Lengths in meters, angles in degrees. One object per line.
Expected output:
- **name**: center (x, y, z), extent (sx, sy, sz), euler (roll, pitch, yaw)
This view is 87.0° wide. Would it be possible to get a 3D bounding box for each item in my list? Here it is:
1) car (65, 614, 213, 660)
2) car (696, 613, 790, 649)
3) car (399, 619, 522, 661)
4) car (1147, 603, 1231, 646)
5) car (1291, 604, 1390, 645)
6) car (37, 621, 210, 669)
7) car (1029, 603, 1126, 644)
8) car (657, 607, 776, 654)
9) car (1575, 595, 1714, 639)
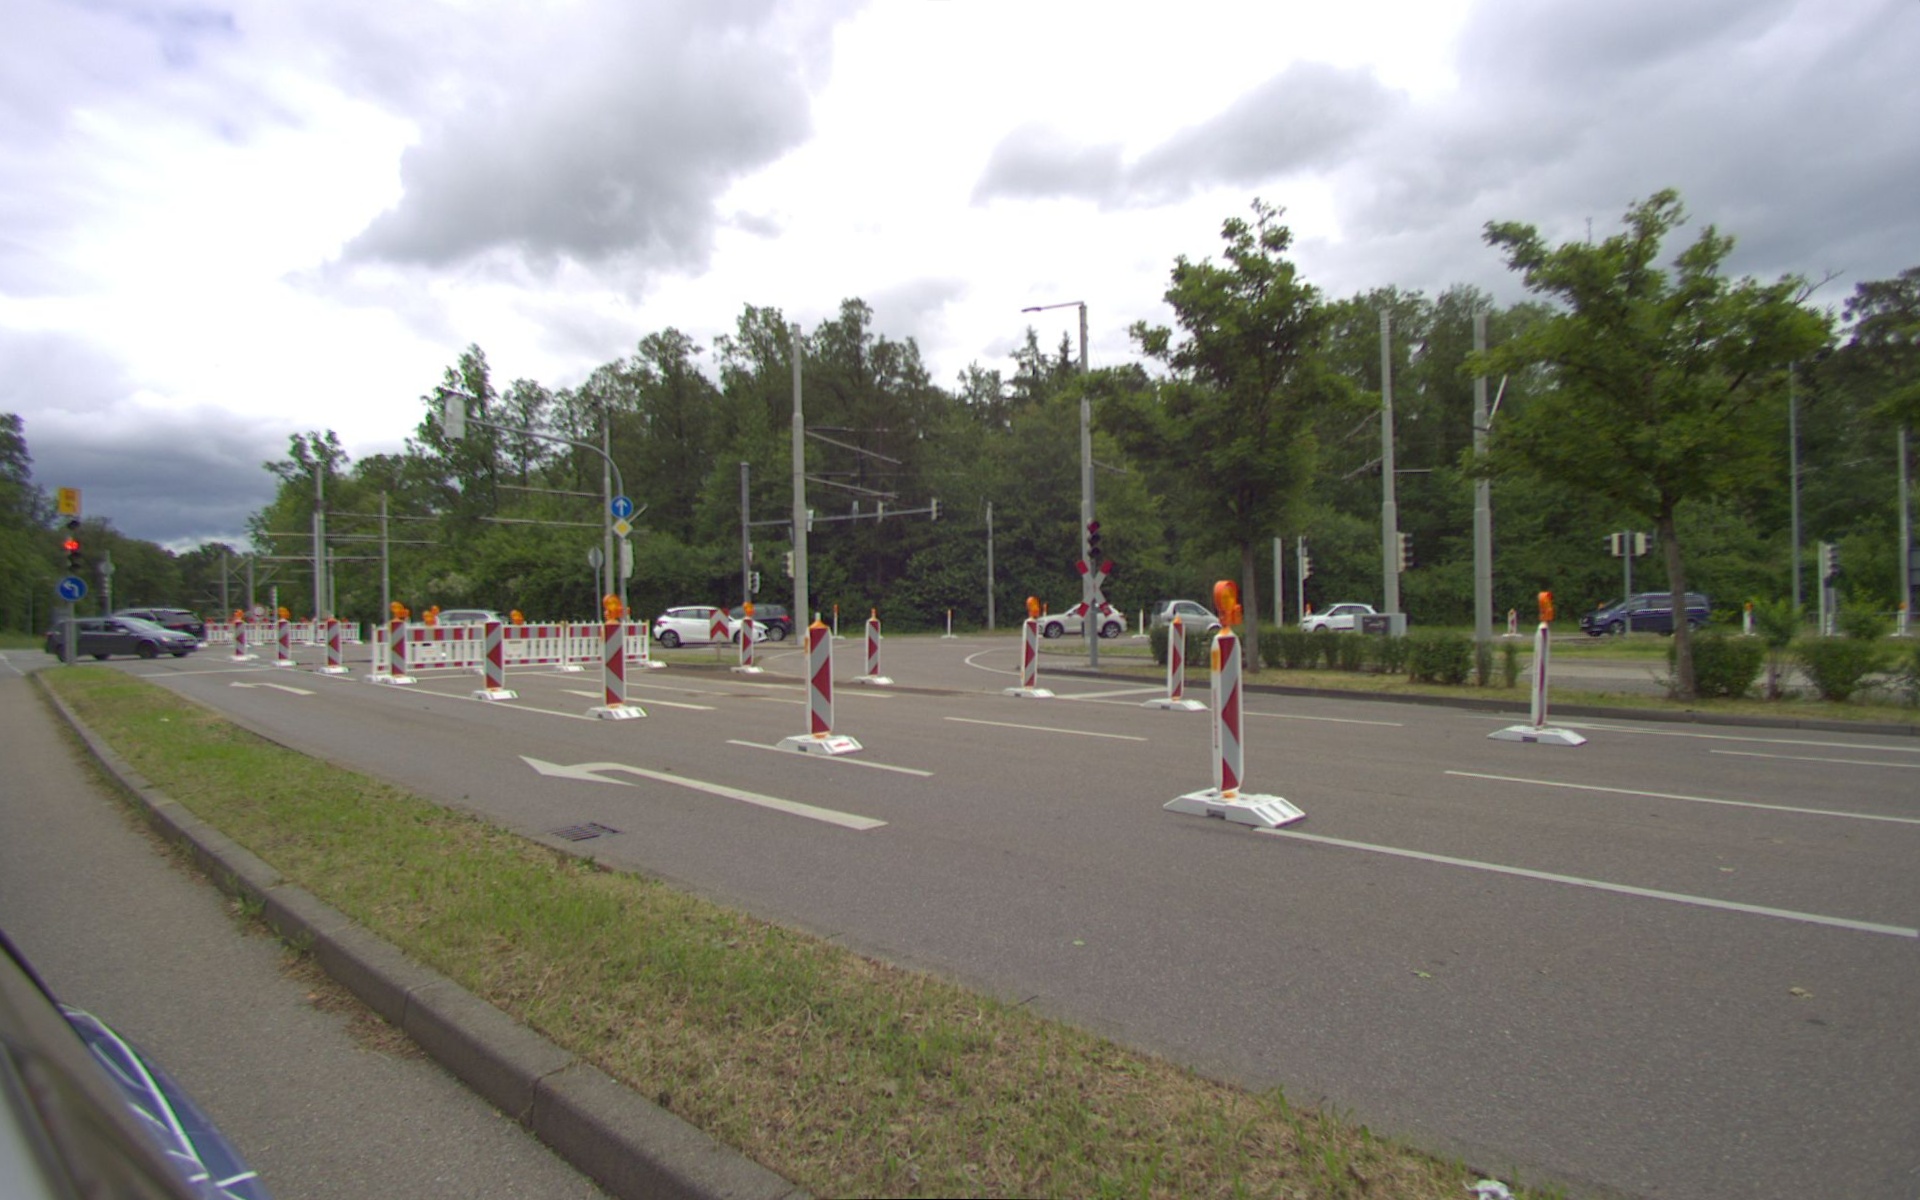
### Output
- **car**: center (-34.308, 1.511, 42.417), extent (4.402, 1.741, 2.003), euler (-1, 0, -7)
- **car**: center (-9.390, 1.340, 44.009), extent (3.785, 1.347, 1.665), euler (-1, 3, -2)
- **car**: center (-21.335, 1.683, 43.377), extent (4.379, 1.607, 1.885), euler (-1, 0, -10)
- **car**: center (8.465, 0.898, 37.541), extent (2.703, 1.486, 1.501), euler (-1, 0, -4)
- **car**: center (17.257, 1.103, 46.019), extent (3.736, 1.735, 1.860), euler (-1, 0, -2)
- **car**: center (-28.644, 1.507, 34.763), extent (4.324, 1.447, 1.799), euler (-1, 0, -4)
- **car**: center (5.214, 1.031, 45.169), extent (3.987, 1.664, 1.861), euler (-1, 0, -4)
- **car**: center (-8.650, 1.058, 36.167), extent (3.938, 1.499, 1.772), euler (-1, 0, -6)
- **car**: center (30.748, 0.747, 45.576), extent (4.772, 1.829, 1.997), euler (-1, 0, 5)
